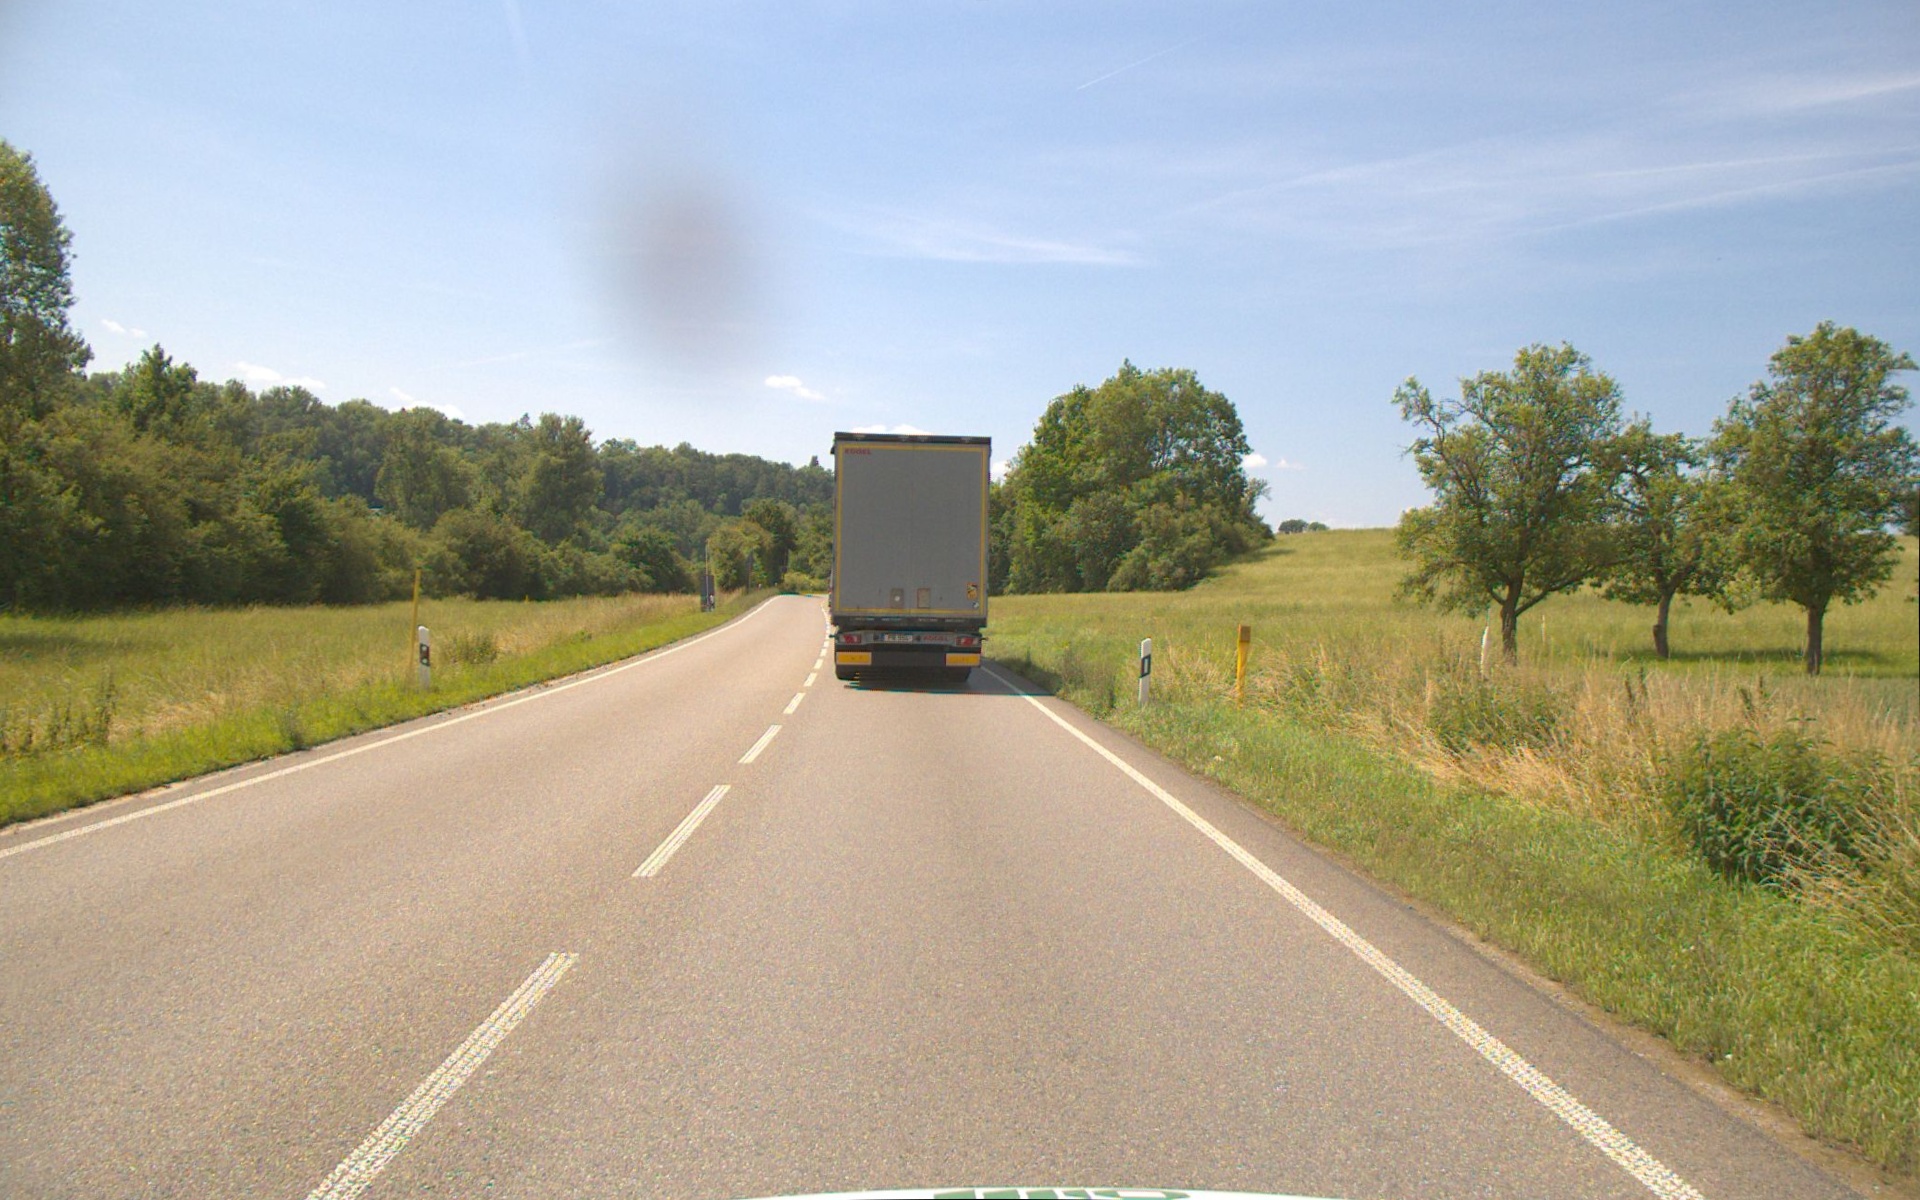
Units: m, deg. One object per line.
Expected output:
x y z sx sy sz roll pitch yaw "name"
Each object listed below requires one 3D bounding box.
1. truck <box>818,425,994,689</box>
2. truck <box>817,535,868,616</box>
-1.271 -0.680 33.658 2.746 4.140 15.315 0 0 -3 "truck"
-8.231 -1.876 113.987 3.045 4.786 16.577 -2 4 -5 "truck"
